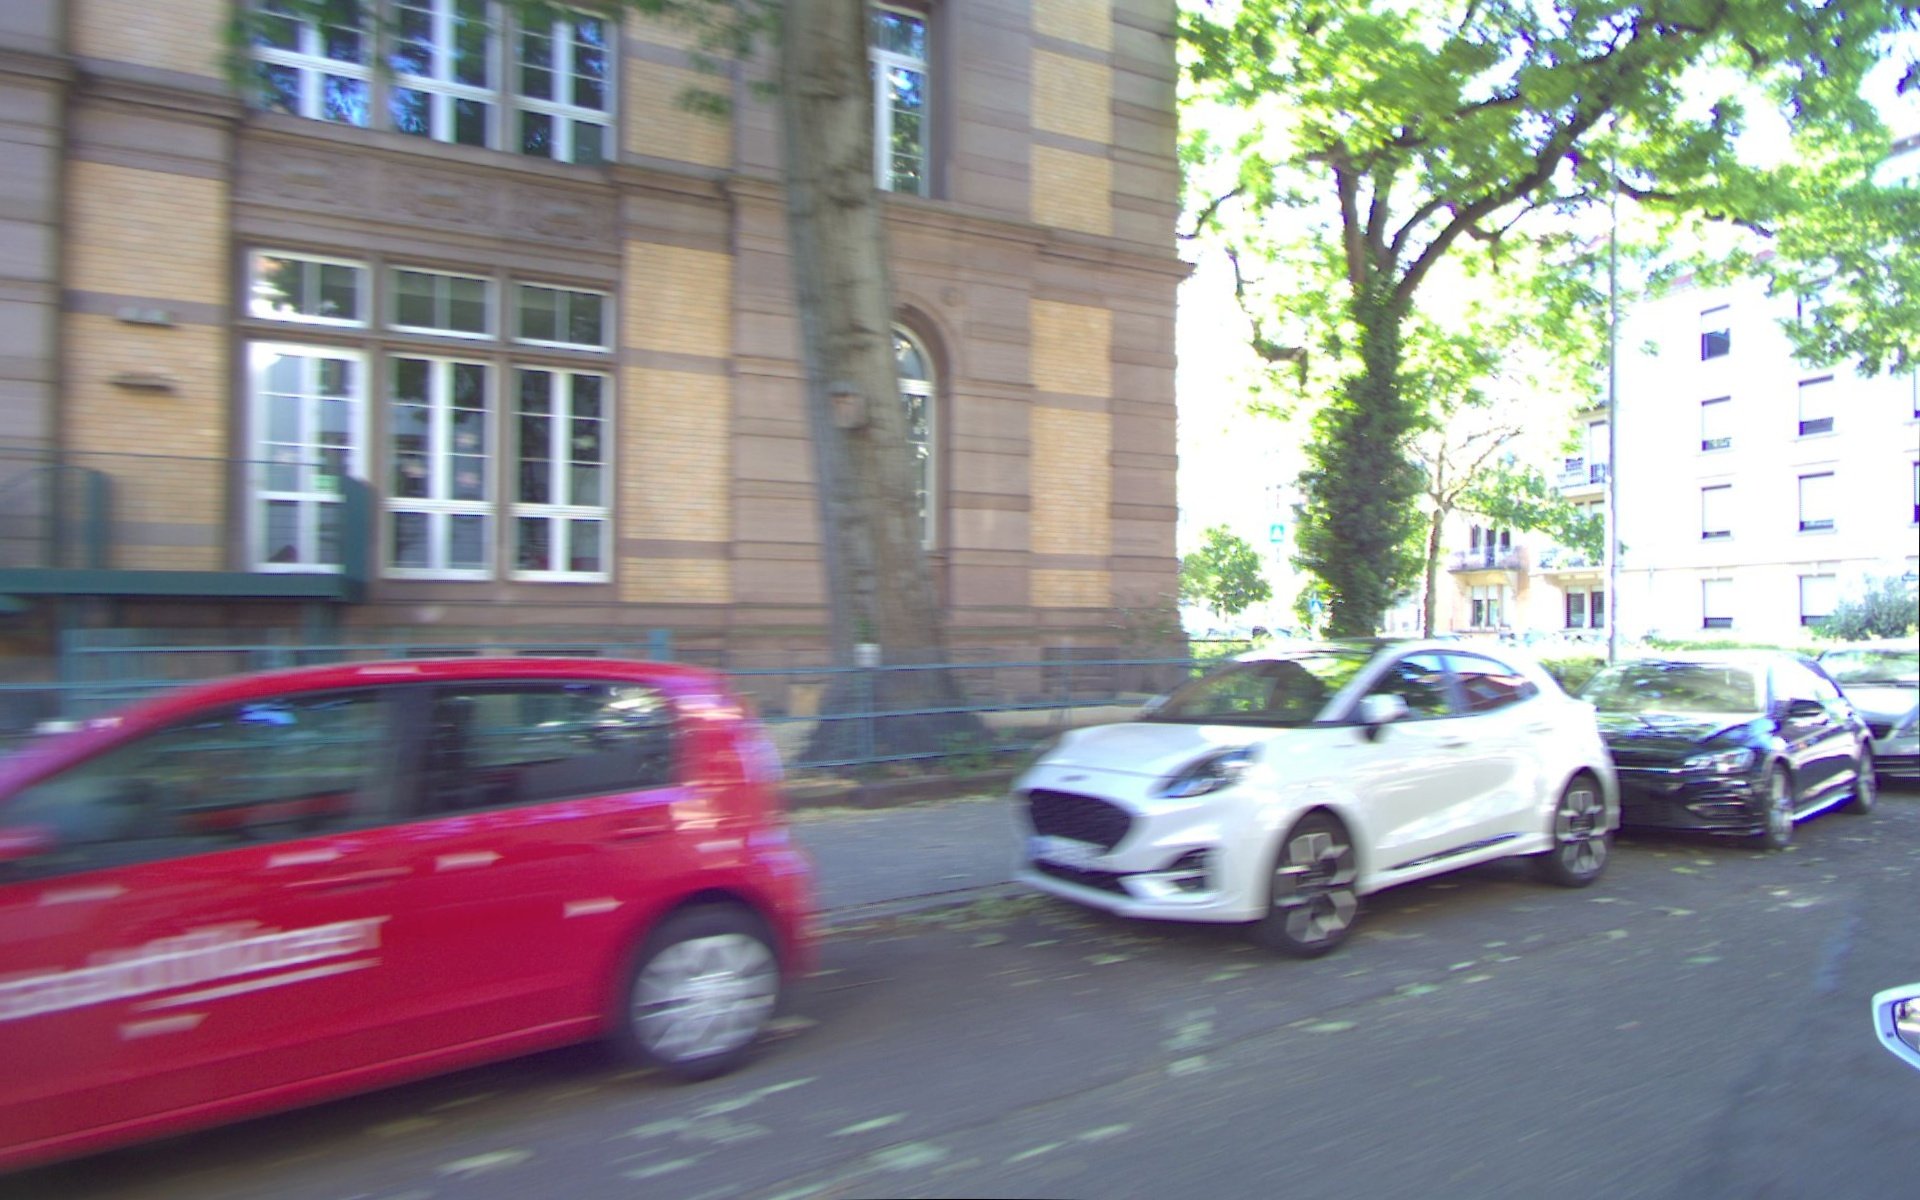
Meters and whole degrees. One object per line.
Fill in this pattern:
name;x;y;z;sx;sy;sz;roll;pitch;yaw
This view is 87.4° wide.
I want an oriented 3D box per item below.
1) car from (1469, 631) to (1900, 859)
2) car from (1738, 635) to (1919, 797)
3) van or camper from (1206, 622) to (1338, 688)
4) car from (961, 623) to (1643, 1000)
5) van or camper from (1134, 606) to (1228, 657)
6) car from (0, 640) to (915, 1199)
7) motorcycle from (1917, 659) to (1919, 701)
car;6.393;1.079;8.687;4.423;1.493;1.734;2;-6;-37
car;10.671;1.215;11.358;3.876;1.570;1.688;1;-5;-32
van or camper;10.247;1.764;33.358;1.747;2.040;4.364;1;-2;-25
car;2.208;1.011;6.154;4.090;1.573;1.815;2;-6;-34
van or camper;12.047;1.705;54.760;4.854;2.671;1.988;1;-1;-25
car;-2.281;0.914;3.470;3.983;1.478;1.594;1;-4;-32
motorcycle;23.850;1.935;23.854;1.789;0.999;0.690;1;3;-11
